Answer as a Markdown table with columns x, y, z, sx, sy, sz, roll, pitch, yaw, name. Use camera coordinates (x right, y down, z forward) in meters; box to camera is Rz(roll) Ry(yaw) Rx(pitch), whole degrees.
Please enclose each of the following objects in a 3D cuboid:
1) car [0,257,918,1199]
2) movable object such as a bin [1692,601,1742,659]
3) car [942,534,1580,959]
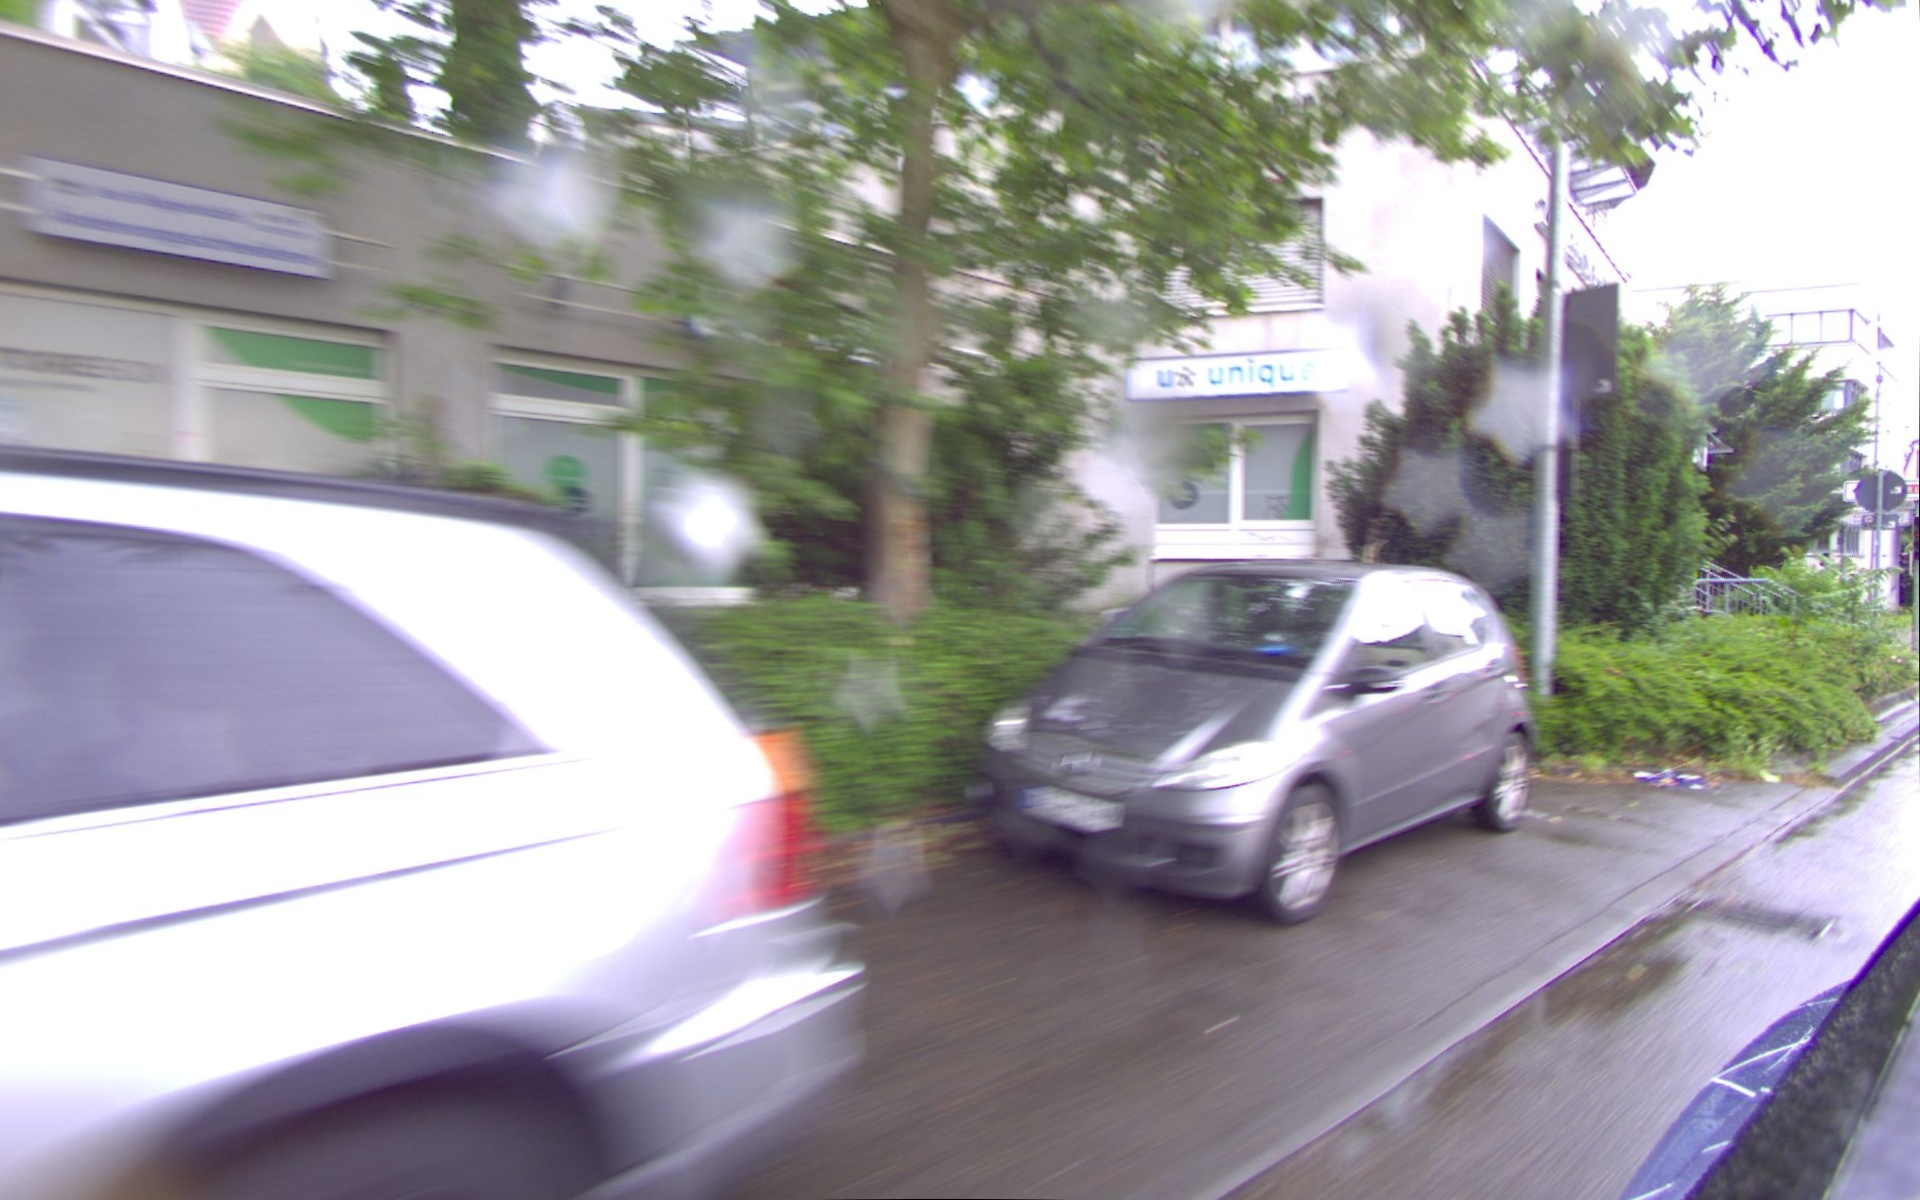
| x | y | z | sx | sy | sz | roll | pitch | yaw | name |
| --- | --- | --- | --- | --- | --- | --- | --- | --- | --- |
| -2.506 | 0.475 | 1.197 | 4.648 | 1.802 | 1.936 | 0 | 3 | -39 | car |
| 12.609 | 0.503 | 16.870 | 0.482 | 0.921 | 0.484 | 4 | -1 | -29 | movable object such as a bin |
| 1.912 | 0.509 | 5.735 | 3.848 | 1.592 | 1.712 | 0 | 3 | -43 | car |
